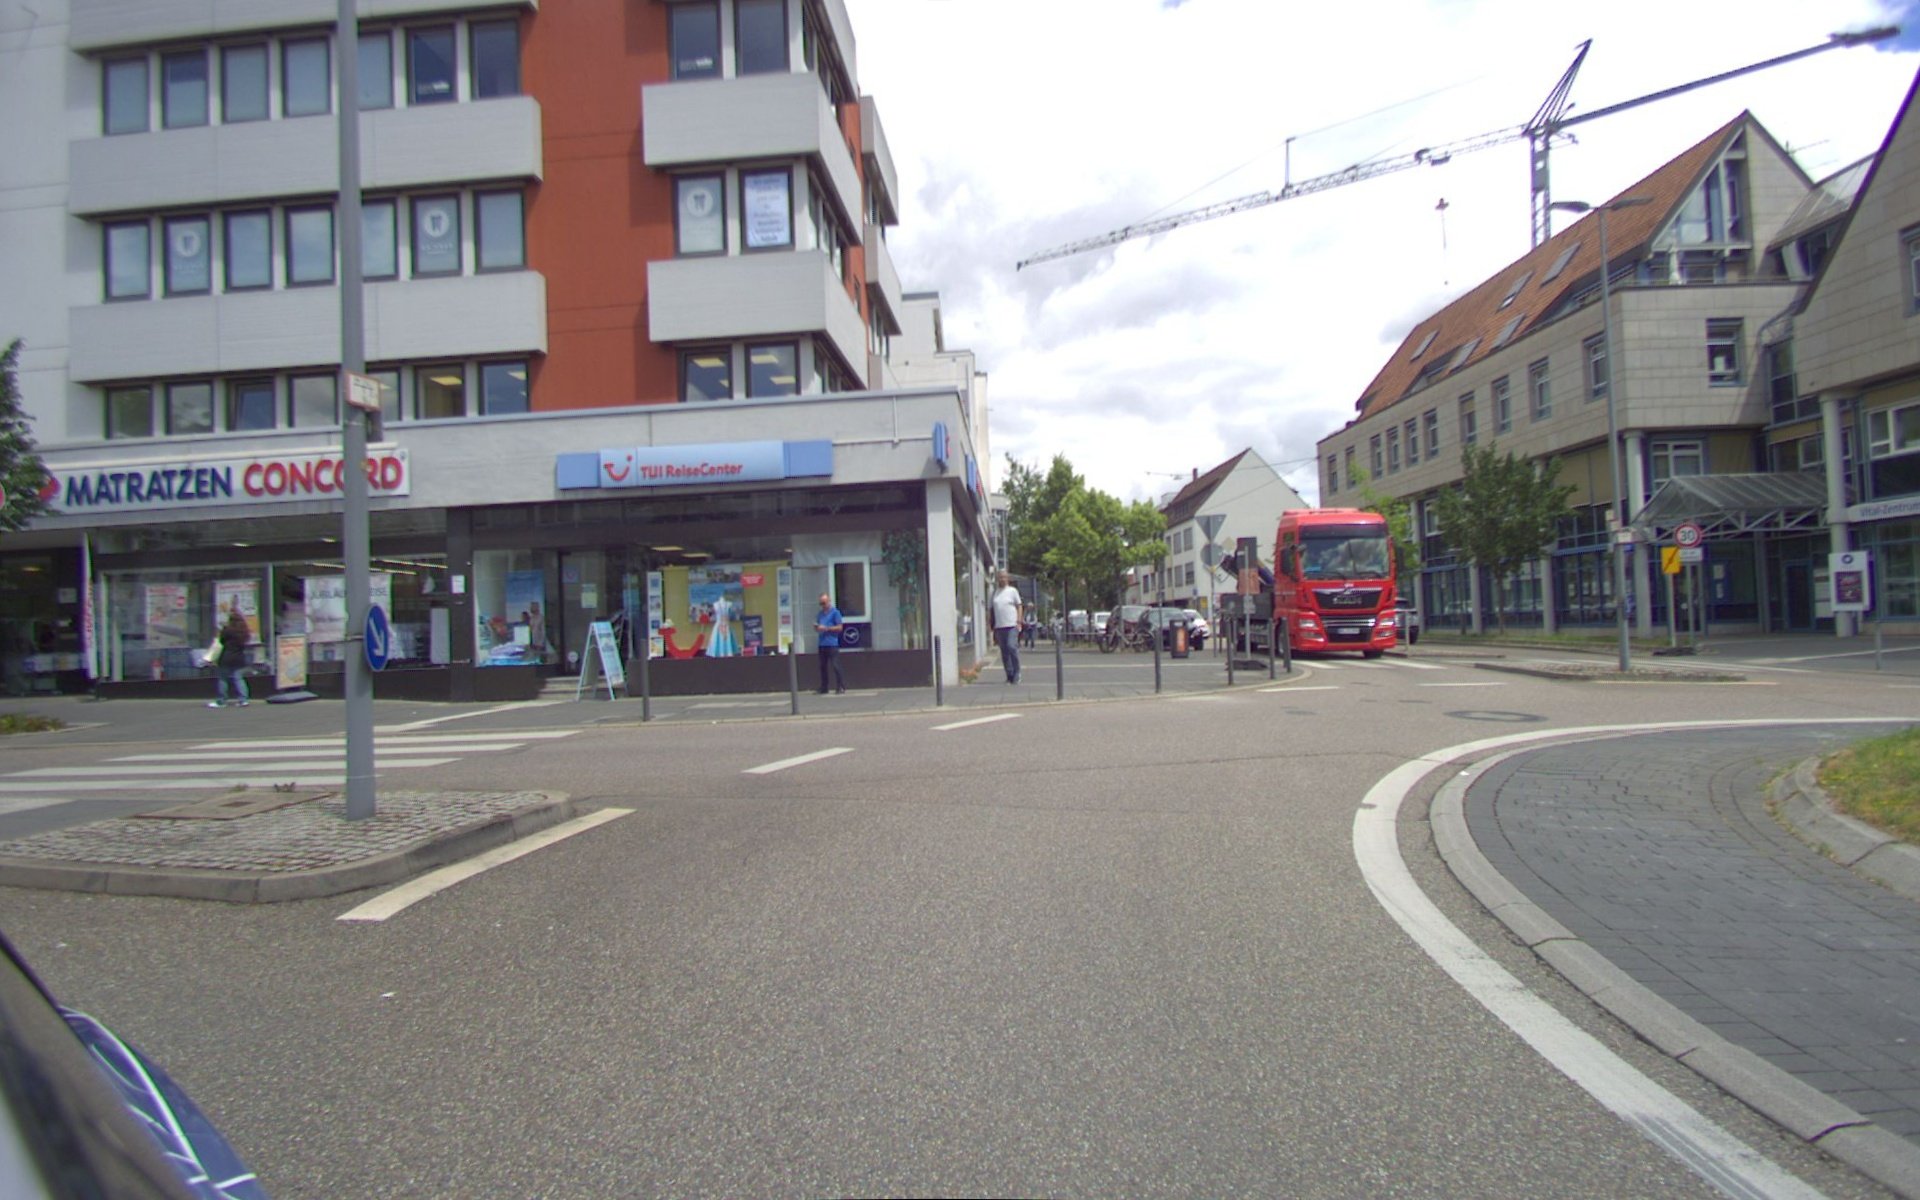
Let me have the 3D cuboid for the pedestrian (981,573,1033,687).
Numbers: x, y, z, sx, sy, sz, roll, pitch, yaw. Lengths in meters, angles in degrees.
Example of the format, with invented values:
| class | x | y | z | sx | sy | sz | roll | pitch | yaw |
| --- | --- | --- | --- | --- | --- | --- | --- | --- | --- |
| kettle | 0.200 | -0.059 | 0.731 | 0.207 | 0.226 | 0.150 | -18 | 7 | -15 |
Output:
| class | x | y | z | sx | sy | sz | roll | pitch | yaw |
| --- | --- | --- | --- | --- | --- | --- | --- | --- | --- |
| pedestrian | 0.793 | 0.500 | 17.284 | 0.794 | 1.889 | 0.681 | -1 | -1 | -1 |

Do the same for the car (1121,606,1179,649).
| class | x | y | z | sx | sy | sz | roll | pitch | yaw |
| --- | --- | --- | --- | --- | --- | --- | --- | --- | --- |
| car | 7.389 | 1.058 | 39.674 | 1.841 | 1.593 | 4.368 | 0 | -1 | 6 |

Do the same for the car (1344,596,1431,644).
| class | x | y | z | sx | sy | sz | roll | pitch | yaw |
| --- | --- | --- | --- | --- | --- | --- | --- | --- | --- |
| car | 15.101 | 0.697 | 35.995 | 1.843 | 1.593 | 4.363 | 0 | -1 | 9 |

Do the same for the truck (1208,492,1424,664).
| class | x | y | z | sx | sy | sz | roll | pitch | yaw |
| --- | --- | --- | --- | --- | --- | --- | --- | --- | --- |
| truck | 9.775 | -0.438 | 29.440 | 2.928 | 4.058 | 10.586 | 0 | -1 | 3 |

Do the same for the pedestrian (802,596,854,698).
| class | x | y | z | sx | sy | sz | roll | pitch | yaw |
| --- | --- | --- | --- | --- | --- | --- | --- | --- | --- |
| pedestrian | -2.155 | 0.757 | 16.476 | 0.596 | 1.616 | 0.570 | -1 | -2 | -39 |

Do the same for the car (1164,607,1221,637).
| class | x | y | z | sx | sy | sz | roll | pitch | yaw |
| --- | --- | --- | --- | --- | --- | --- | --- | --- | --- |
| car | 10.937 | 1.027 | 47.801 | 1.658 | 1.342 | 3.857 | -1 | -1 | -1 |

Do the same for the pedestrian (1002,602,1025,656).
| class | x | y | z | sx | sy | sz | roll | pitch | yaw |
| --- | --- | --- | --- | --- | --- | --- | --- | --- | --- |
| pedestrian | 1.765 | 0.953 | 33.543 | 0.671 | 1.769 | 0.511 | -1 | -1 | 0 |

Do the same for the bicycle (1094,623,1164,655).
| class | x | y | z | sx | sy | sz | roll | pitch | yaw |
| --- | --- | --- | --- | --- | --- | --- | --- | --- | --- |
| bicycle | 5.154 | 1.190 | 30.953 | 2.039 | 0.953 | 0.521 | 0 | -1 | 4 |

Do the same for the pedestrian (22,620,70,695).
| class | x | y | z | sx | sy | sz | roll | pitch | yaw |
| --- | --- | --- | --- | --- | --- | --- | --- | --- | --- |
| pedestrian | -21.698 | 1.355 | 24.027 | 0.578 | 1.718 | 0.645 | -3 | -3 | -4 |

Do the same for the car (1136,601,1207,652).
| class | x | y | z | sx | sy | sz | roll | pitch | yaw |
| --- | --- | --- | --- | --- | --- | --- | --- | --- | --- |
| car | 7.031 | 0.866 | 34.068 | 1.841 | 1.593 | 4.368 | 0 | -1 | 6 |

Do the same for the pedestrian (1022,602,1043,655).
| class | x | y | z | sx | sy | sz | roll | pitch | yaw |
| --- | --- | --- | --- | --- | --- | --- | --- | --- | --- |
| pedestrian | 2.468 | 0.969 | 34.400 | 0.507 | 1.769 | 0.533 | -2 | -1 | 23 |

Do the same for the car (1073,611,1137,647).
| class | x | y | z | sx | sy | sz | roll | pitch | yaw |
| --- | --- | --- | --- | --- | --- | --- | --- | --- | --- |
| car | 6.622 | 1.302 | 46.665 | 1.835 | 1.578 | 4.382 | 0 | -1 | -7 |

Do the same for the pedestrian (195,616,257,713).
| class | x | y | z | sx | sy | sz | roll | pitch | yaw |
| --- | --- | --- | --- | --- | --- | --- | --- | --- | --- |
| pedestrian | -12.469 | 1.078 | 17.213 | 0.629 | 1.600 | 0.589 | -1 | -1 | -1 |
